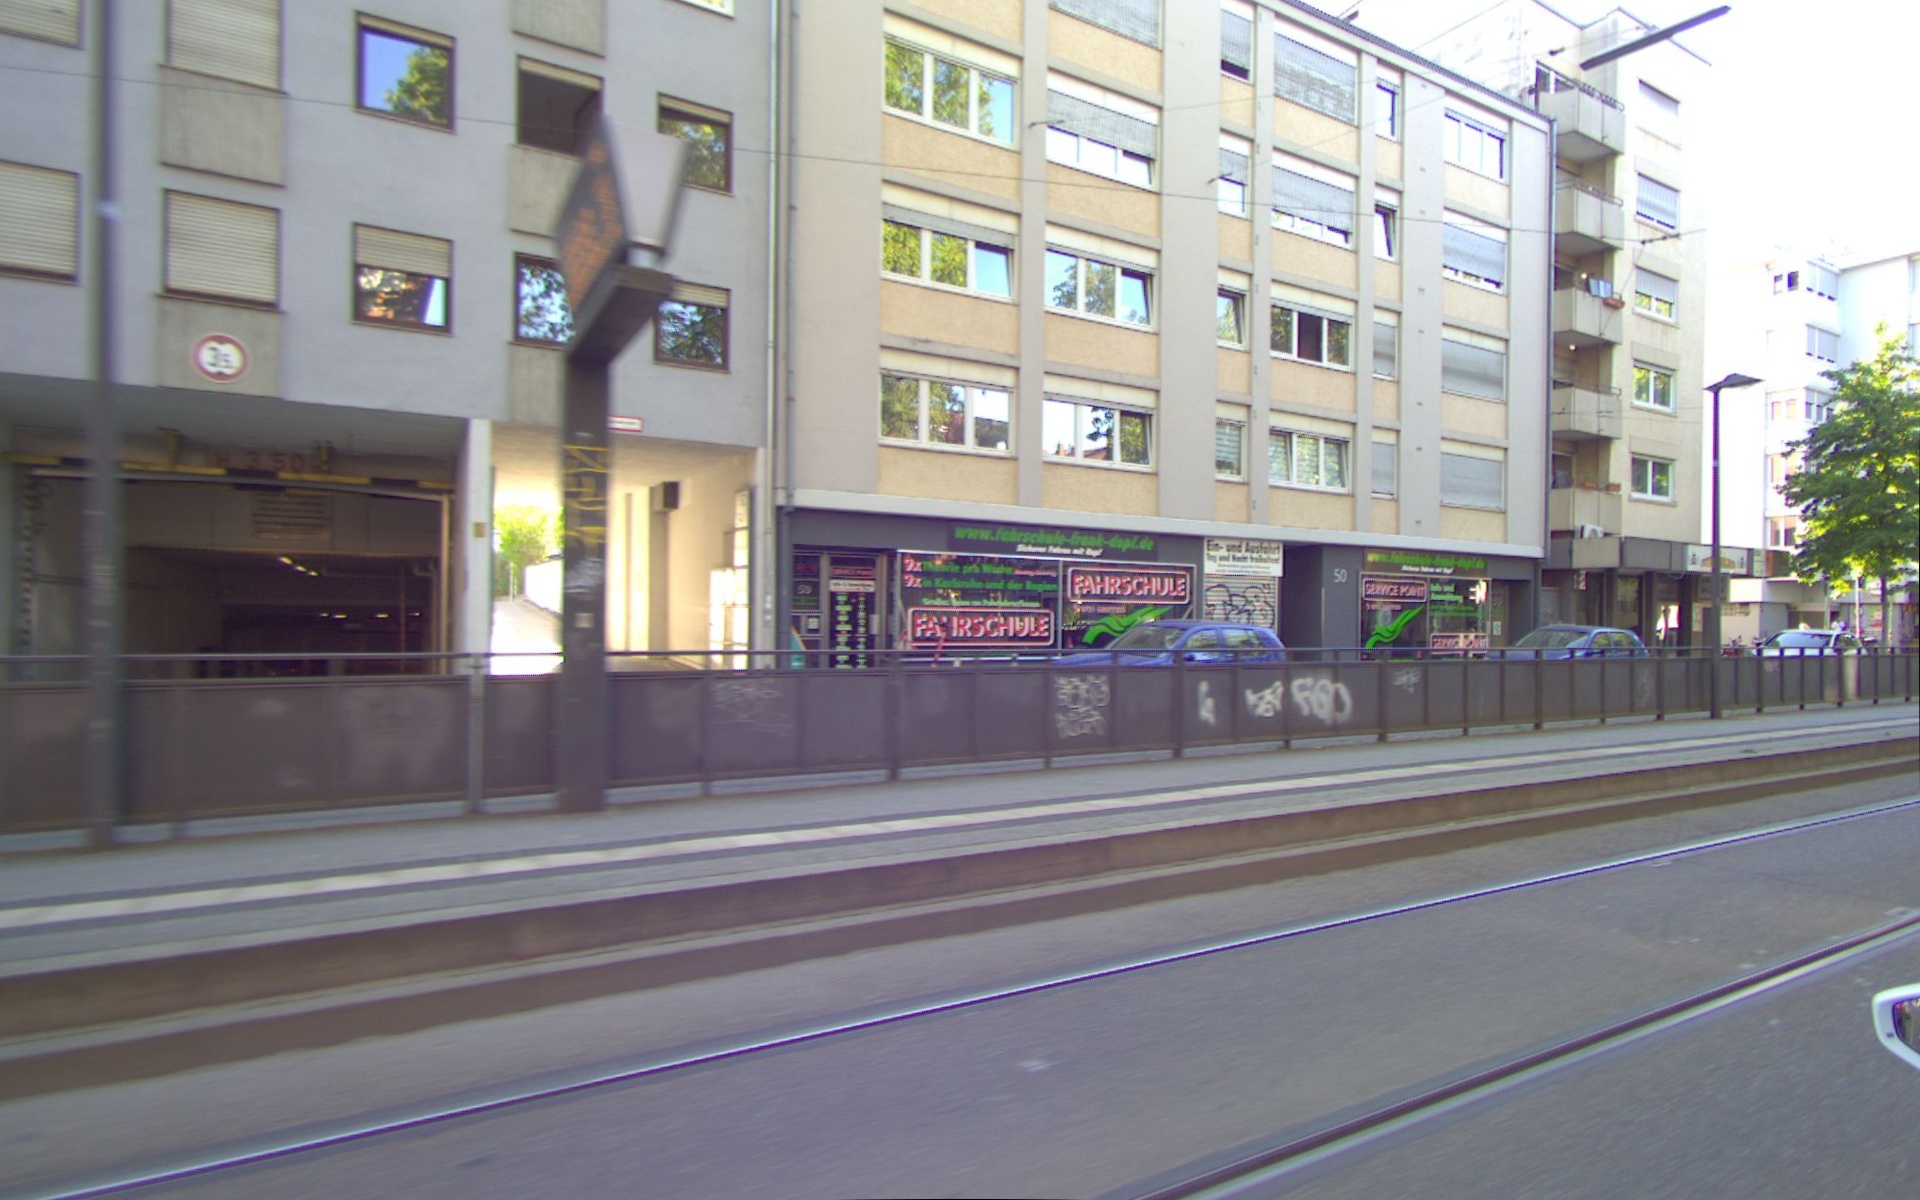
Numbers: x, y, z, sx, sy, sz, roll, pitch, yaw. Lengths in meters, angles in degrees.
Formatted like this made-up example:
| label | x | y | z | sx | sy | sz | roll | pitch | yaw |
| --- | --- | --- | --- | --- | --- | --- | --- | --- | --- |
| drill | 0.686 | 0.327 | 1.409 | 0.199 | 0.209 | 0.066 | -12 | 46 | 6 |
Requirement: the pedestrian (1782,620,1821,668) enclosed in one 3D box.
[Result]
| label | x | y | z | sx | sy | sz | roll | pitch | yaw |
| --- | --- | --- | --- | --- | --- | --- | --- | --- | --- |
| pedestrian | 27.911 | 1.465 | 33.338 | 0.713 | 1.577 | 0.725 | 1 | -1 | -14 |

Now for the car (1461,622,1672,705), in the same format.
| label | x | y | z | sx | sy | sz | roll | pitch | yaw |
| --- | --- | --- | --- | --- | --- | --- | --- | --- | --- |
| car | 12.665 | 1.263 | 20.942 | 4.337 | 1.565 | 1.947 | 1 | -2 | -30 |

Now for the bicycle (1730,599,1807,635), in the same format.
| label | x | y | z | sx | sy | sz | roll | pitch | yaw |
| --- | --- | --- | --- | --- | --- | --- | --- | --- | --- |
| bicycle | 27.191 | 0.557 | 33.834 | 2.006 | 1.172 | 0.570 | 0 | -1 | 38 |

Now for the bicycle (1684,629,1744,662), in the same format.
| label | x | y | z | sx | sy | sz | roll | pitch | yaw |
| --- | --- | --- | --- | --- | --- | --- | --- | --- | --- |
| bicycle | 28.055 | 1.698 | 37.417 | 0.563 | 1.172 | 1.782 | 1 | -1 | -19 |

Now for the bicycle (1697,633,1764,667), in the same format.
| label | x | y | z | sx | sy | sz | roll | pitch | yaw |
| --- | --- | --- | --- | --- | --- | --- | --- | --- | --- |
| bicycle | 27.746 | 1.794 | 36.200 | 0.564 | 1.172 | 1.853 | 1 | -1 | -25 |

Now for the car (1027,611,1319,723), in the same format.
| label | x | y | z | sx | sy | sz | roll | pitch | yaw |
| --- | --- | --- | --- | --- | --- | --- | --- | --- | --- |
| car | 3.255 | 0.942 | 15.142 | 4.232 | 1.483 | 1.786 | 1 | -2 | -30 |

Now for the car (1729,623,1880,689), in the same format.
| label | x | y | z | sx | sy | sz | roll | pitch | yaw |
| --- | --- | --- | --- | --- | --- | --- | --- | --- | --- |
| car | 22.965 | 1.476 | 27.281 | 4.309 | 1.673 | 1.868 | 1 | -2 | -32 |

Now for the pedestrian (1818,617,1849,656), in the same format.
| label | x | y | z | sx | sy | sz | roll | pitch | yaw |
| --- | --- | --- | --- | --- | --- | --- | --- | --- | --- |
| pedestrian | 38.026 | 1.604 | 43.722 | 0.756 | 1.681 | 0.747 | 1 | -1 | -15 |

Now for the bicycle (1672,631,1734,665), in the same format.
| label | x | y | z | sx | sy | sz | roll | pitch | yaw |
| --- | --- | --- | --- | --- | --- | --- | --- | --- | --- |
| bicycle | 27.363 | 1.760 | 37.011 | 0.567 | 1.172 | 1.771 | 1 | -1 | -36 |
